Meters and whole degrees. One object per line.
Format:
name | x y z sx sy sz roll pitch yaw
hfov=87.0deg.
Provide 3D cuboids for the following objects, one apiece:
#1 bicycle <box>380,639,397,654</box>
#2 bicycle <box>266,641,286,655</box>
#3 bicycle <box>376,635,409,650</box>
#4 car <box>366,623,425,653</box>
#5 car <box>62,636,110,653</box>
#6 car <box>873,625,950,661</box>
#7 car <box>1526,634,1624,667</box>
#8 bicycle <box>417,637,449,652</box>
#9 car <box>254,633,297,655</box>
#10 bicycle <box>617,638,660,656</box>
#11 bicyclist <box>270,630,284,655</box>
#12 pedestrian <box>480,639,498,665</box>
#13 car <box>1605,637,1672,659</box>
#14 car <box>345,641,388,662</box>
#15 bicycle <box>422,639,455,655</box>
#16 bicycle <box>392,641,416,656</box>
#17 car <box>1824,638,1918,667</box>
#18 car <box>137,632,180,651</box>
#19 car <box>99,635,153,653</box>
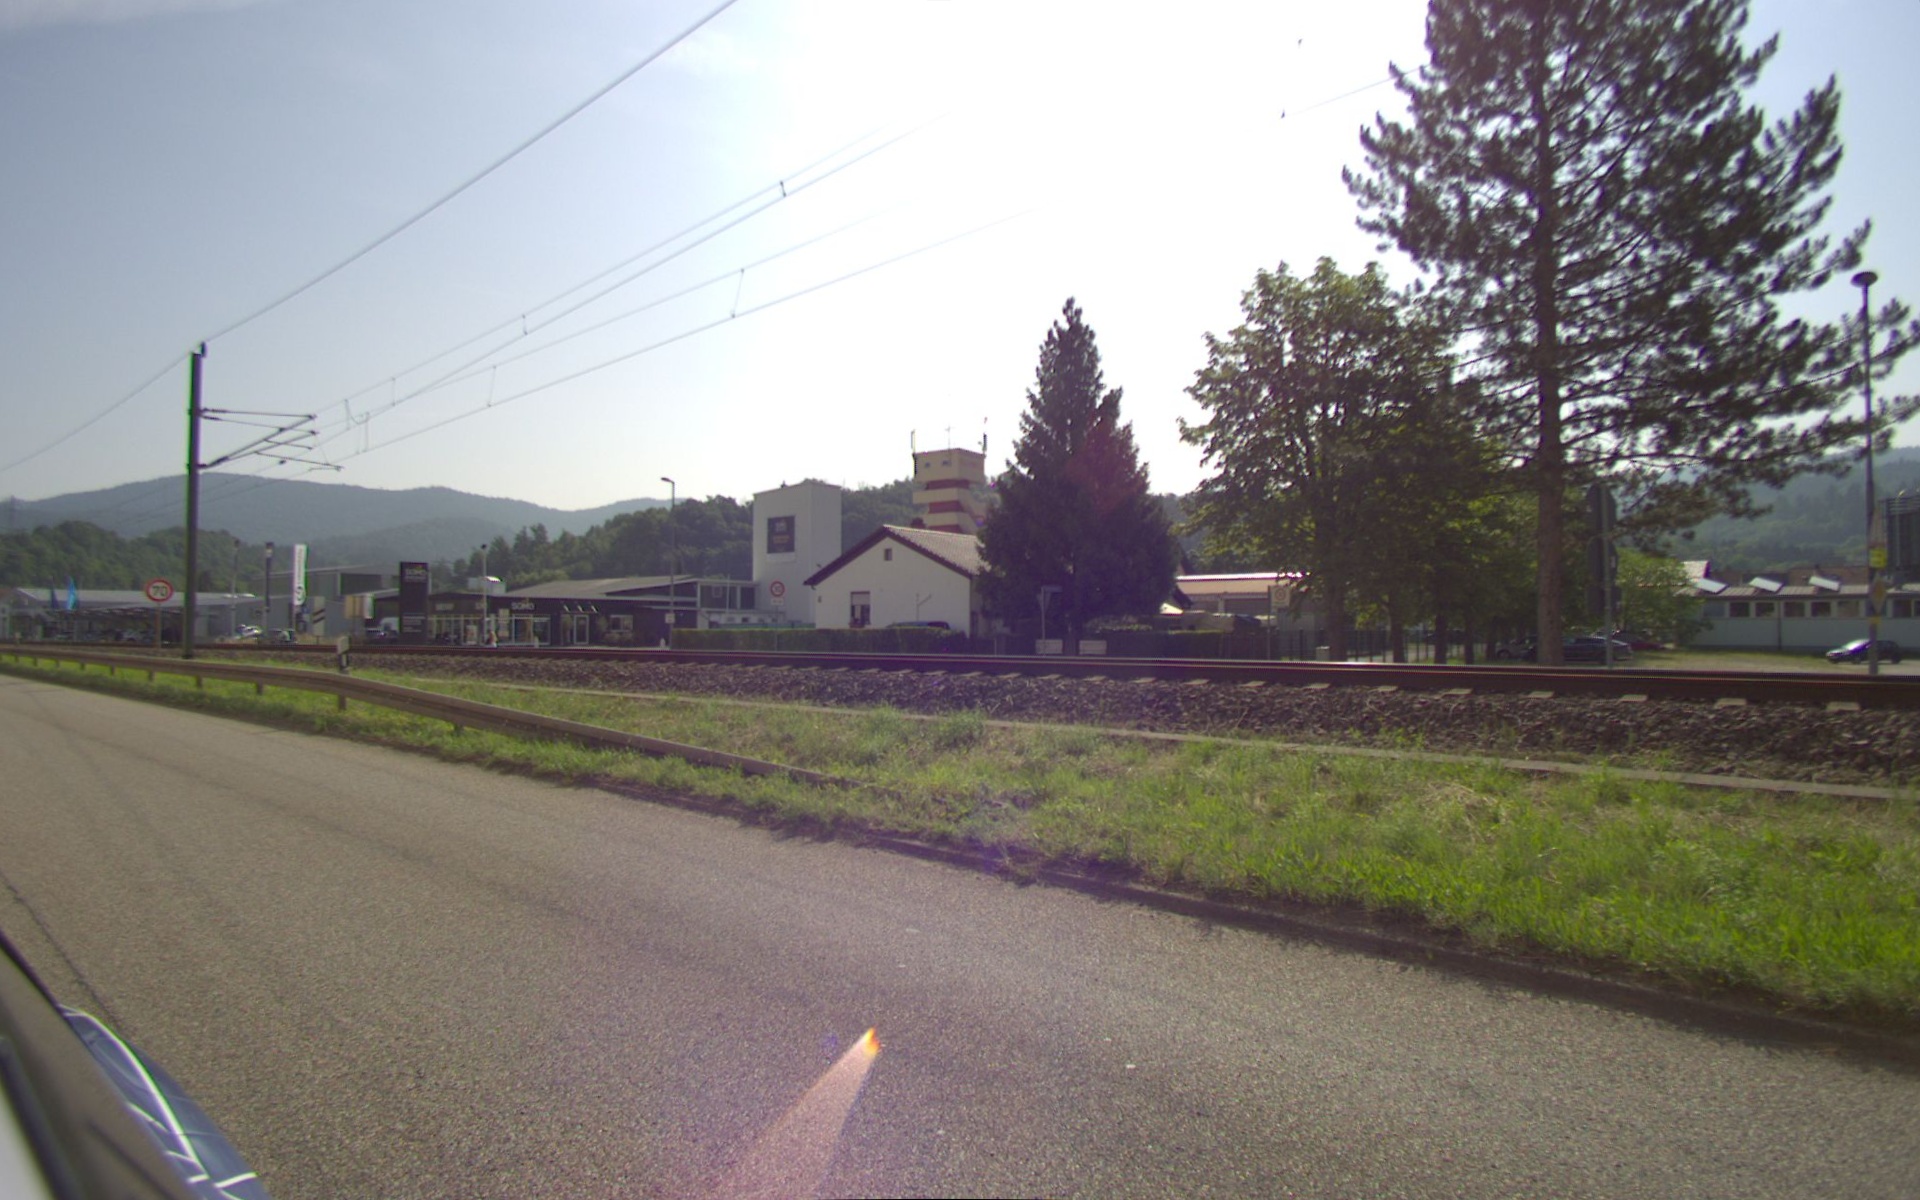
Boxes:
bicycle | -44.351 3.616 78.530 0.717 1.139 2.329 1 -2 -19
bicycle | -46.714 3.274 69.114 1.707 0.930 0.540 -2 -3 36
bicycle | -45.511 3.412 81.182 0.729 1.139 2.147 -1 -2 37
car | -52.555 3.501 94.128 6.147 2.653 2.352 1 -1 35
car | -95.535 4.875 110.678 1.819 1.539 4.276 -2 1 -5
car | -1.951 1.696 40.412 2.890 1.362 1.377 -1 -2 37
car | 29.983 2.432 49.409 3.987 1.560 1.665 -1 -2 32
bicycle | -40.311 3.377 77.467 0.726 1.139 2.154 -1 -2 27
car | -58.085 3.711 85.831 4.359 1.701 1.506 -1 0 34
bicycle | -25.682 3.758 80.855 0.987 1.298 3.407 -1 0 33
bicyclist | -46.618 2.882 69.061 0.830 1.659 0.527 -2 -3 36
pedestrian | -24.706 2.716 53.088 0.672 1.342 0.569 -1 -2 33
car | 47.529 3.317 70.906 3.844 1.492 1.477 -1 -2 35
car | -53.464 4.617 91.168 3.990 1.676 1.852 0 -1 35
bicycle | -38.739 3.500 75.165 0.726 1.139 2.154 -1 -2 27
bicycle | -42.278 3.689 76.936 2.170 1.139 0.721 -1 -2 36
car | 53.083 3.042 59.042 3.802 1.655 1.686 0 -2 3
car | -79.898 4.106 100.961 1.636 1.634 4.041 -2 1 -11
car | -84.583 4.434 102.675 1.659 1.539 3.923 -2 1 34
